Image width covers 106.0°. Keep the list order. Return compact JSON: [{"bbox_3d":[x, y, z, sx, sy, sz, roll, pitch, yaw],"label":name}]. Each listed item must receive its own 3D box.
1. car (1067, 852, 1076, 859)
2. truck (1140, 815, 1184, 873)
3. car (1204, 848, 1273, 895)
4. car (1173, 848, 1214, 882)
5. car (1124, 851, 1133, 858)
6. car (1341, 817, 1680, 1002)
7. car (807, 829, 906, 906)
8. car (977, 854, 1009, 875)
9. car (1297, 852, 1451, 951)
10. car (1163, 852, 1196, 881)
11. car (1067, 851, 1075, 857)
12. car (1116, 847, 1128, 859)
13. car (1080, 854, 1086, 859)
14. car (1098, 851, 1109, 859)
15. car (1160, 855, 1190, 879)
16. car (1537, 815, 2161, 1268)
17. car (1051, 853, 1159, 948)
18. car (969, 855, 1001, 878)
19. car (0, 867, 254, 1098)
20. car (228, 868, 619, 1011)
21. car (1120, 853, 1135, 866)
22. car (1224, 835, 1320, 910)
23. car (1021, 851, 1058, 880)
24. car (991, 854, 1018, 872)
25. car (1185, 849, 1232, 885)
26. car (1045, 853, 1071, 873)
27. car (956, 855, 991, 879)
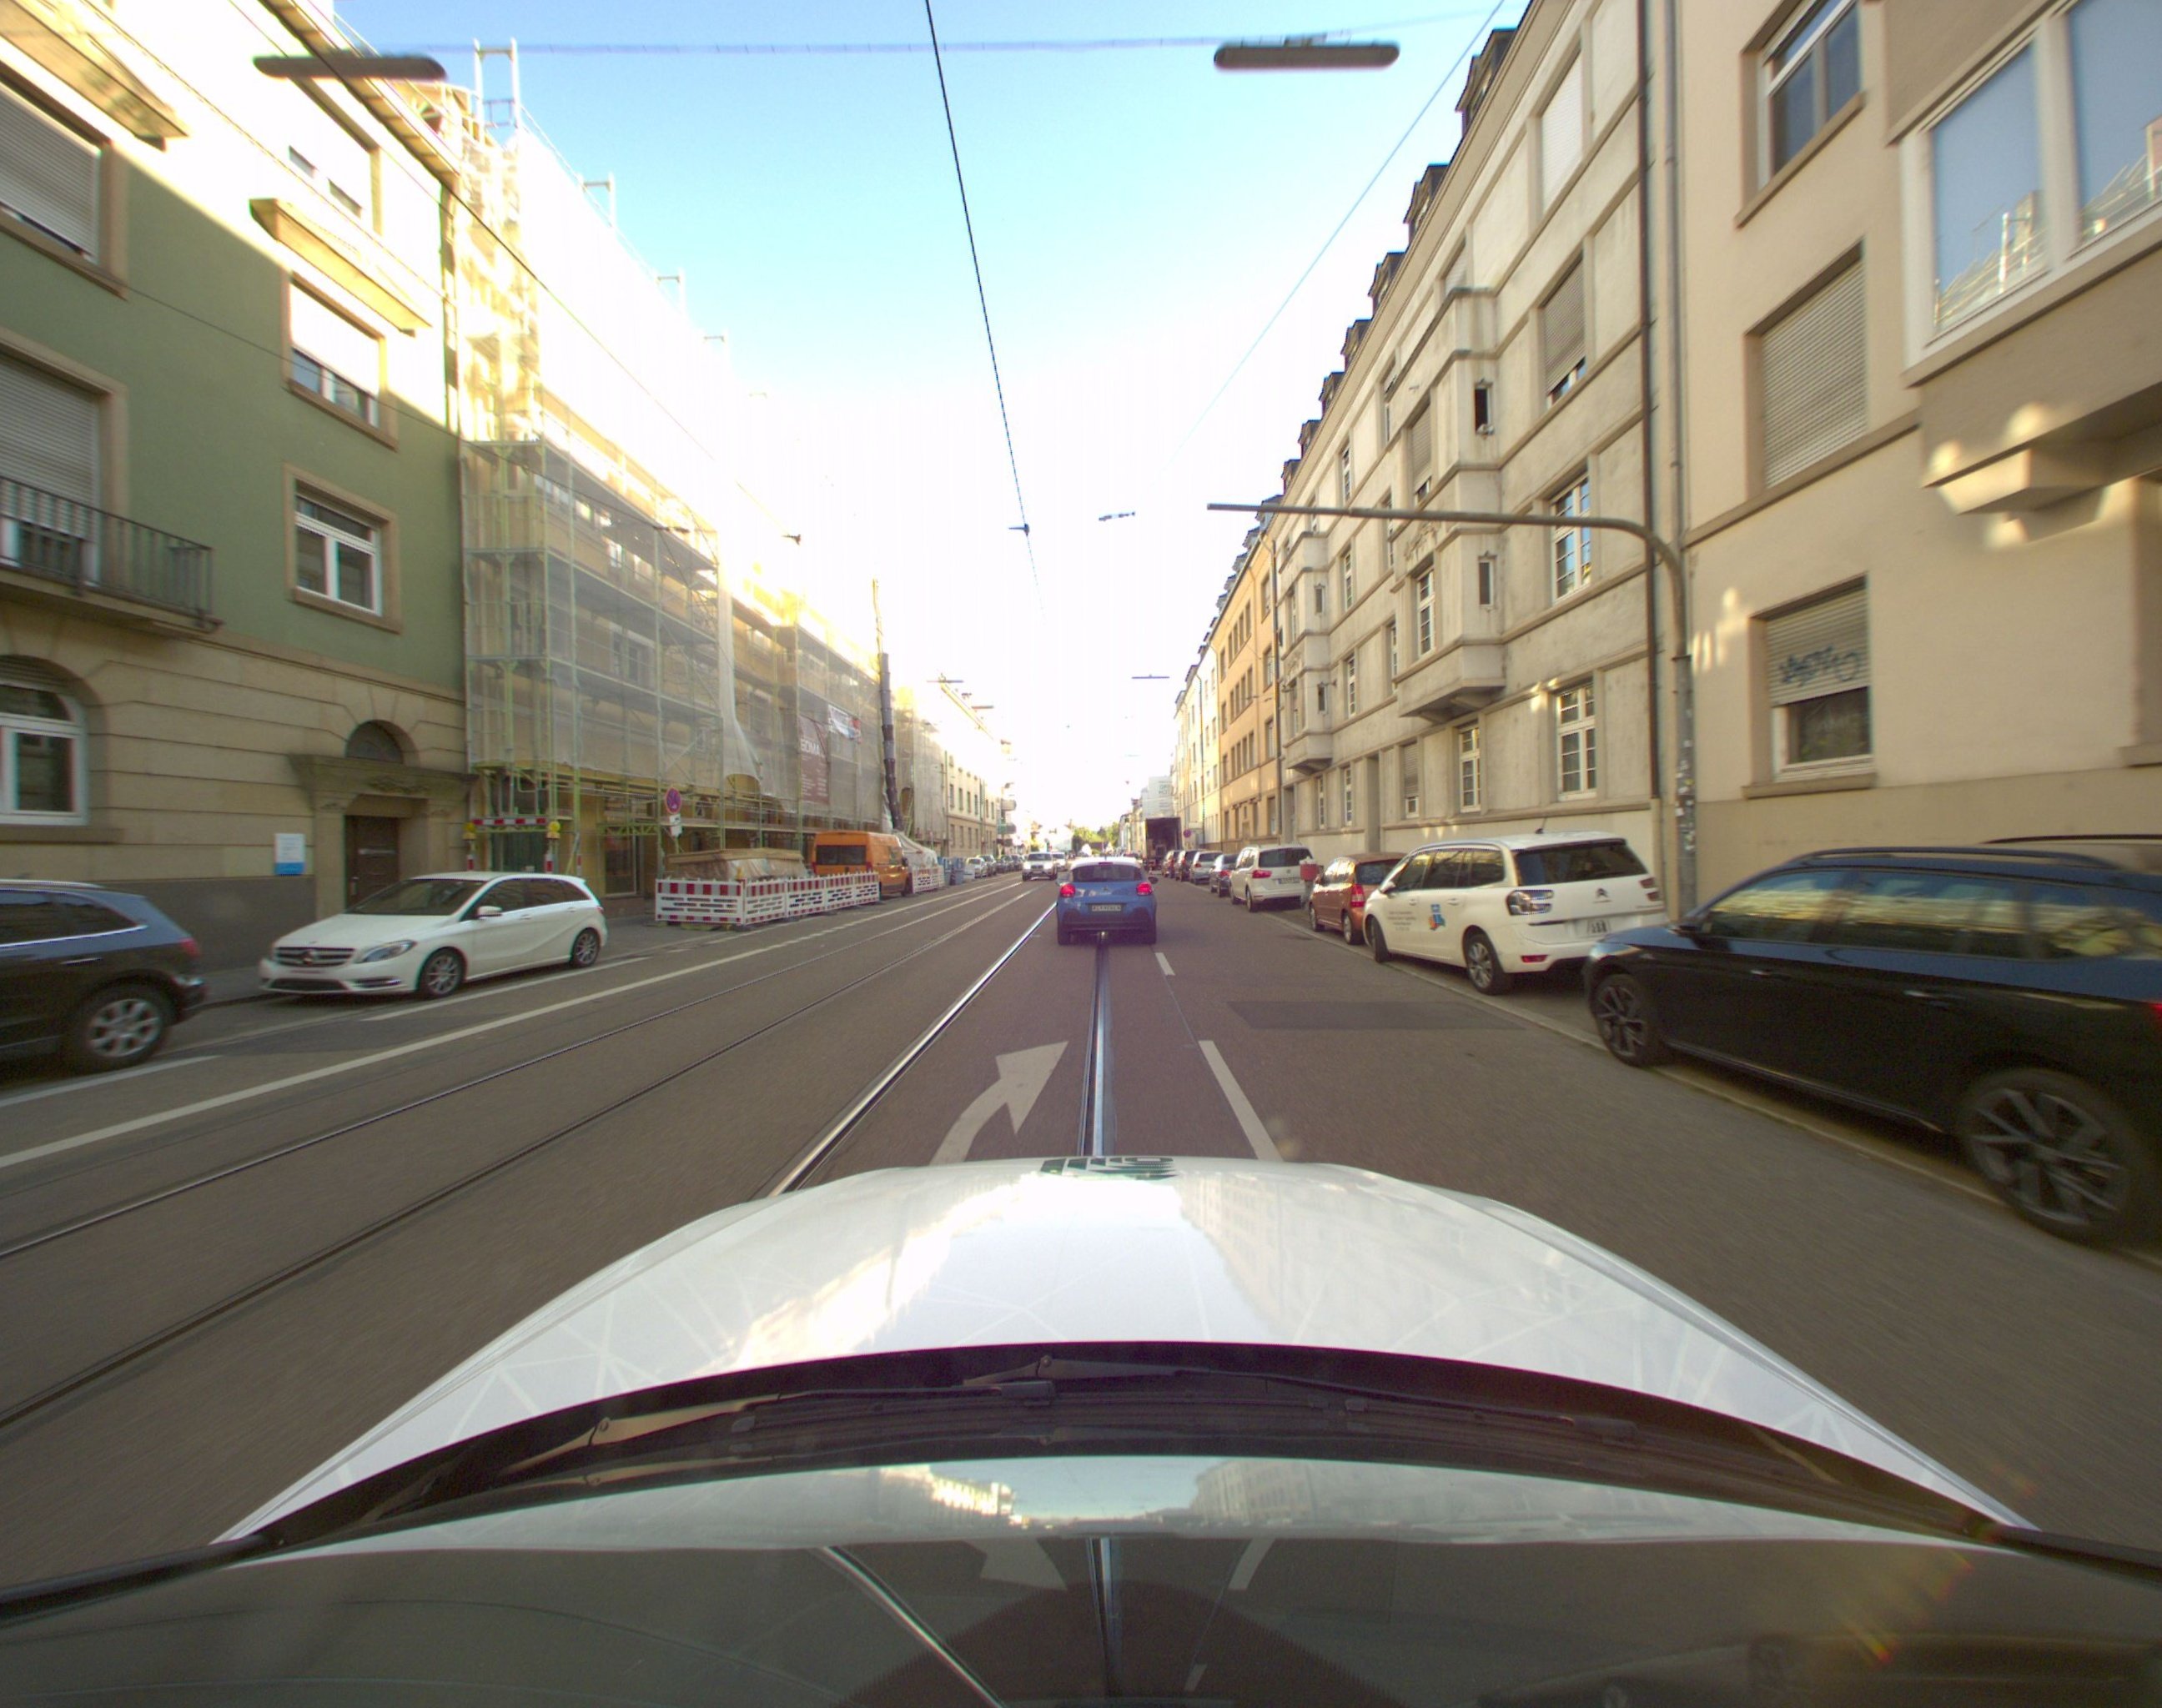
[{"bbox_3d":[-2.092,0.362,181.991,1.758,1.487,4.033,-1,0,2],"label":"car"},{"bbox_3d":[6.271,-0.721,64.383,2.841,4.083,11.279,-1,0,3],"label":"truck"},{"bbox_3d":[5.472,0.566,28.739,1.716,1.487,4.224,-1,0,2],"label":"car"},{"bbox_3d":[5.868,0.537,42.835,1.657,1.647,4.224,-1,0,2],"label":"car"},{"bbox_3d":[10.830,0.068,185.732,1.758,1.487,4.033,-1,0,2],"label":"car"},{"bbox_3d":[4.907,0.535,10.196,1.651,1.752,4.599,-1,0,-2],"label":"car"},{"bbox_3d":[-7.854,0.423,29.060,2.138,2.475,4.979,-1,0,0],"label":"car"},{"bbox_3d":[-7.496,0.859,69.577,2.137,1.621,4.001,-2,0,1],"label":"car"},{"bbox_3d":[5.164,0.763,14.846,1.608,1.560,3.602,-1,0,2],"label":"car"},{"bbox_3d":[5.872,0.742,48.858,1.657,1.633,3.873,-1,0,2],"label":"car"},{"bbox_3d":[-2.526,0.115,210.103,1.758,1.487,4.033,-1,0,2],"label":"car"},{"bbox_3d":[7.932,-0.129,156.564,2.211,2.284,4.086,-1,0,2],"label":"car"},{"bbox_3d":[0.743,0.874,255.111,1.758,1.487,4.033,-1,0,2],"label":"car"},{"bbox_3d":[4.365,0.127,156.794,2.172,1.486,4.162,-1,0,2],"label":"car"},{"bbox_3d":[6.110,0.844,53.334,1.657,1.487,4.033,-1,0,2],"label":"car"},{"bbox_3d":[4.623,0.632,4.708,1.648,1.566,4.340,-1,0,2],"label":"car"},{"bbox_3d":[0.460,0.753,15.188,1.728,1.507,3.994,1,0,2],"label":"car"},{"bbox_3d":[-7.159,0.887,61.074,1.707,1.594,4.269,-1,0,2],"label":"car"},{"bbox_3d":[-8.779,0.960,5.437,1.777,1.627,4.608,1,0,0],"label":"car"},{"bbox_3d":[-8.682,0.997,11.394,1.711,1.502,4.391,1,0,3],"label":"car"},{"bbox_3d":[5.539,0.618,97.757,1.758,1.487,4.033,-1,0,2],"label":"car"},{"bbox_3d":[5.183,0.459,22.680,1.724,1.827,4.689,-1,0,2],"label":"car"},{"bbox_3d":[-2.426,0.665,48.649,1.819,1.632,4.493,-1,0,2],"label":"car"},{"bbox_3d":[-7.014,0.813,75.344,1.819,1.632,4.851,-1,0,2],"label":"car"},{"bbox_3d":[5.877,0.573,37.987,1.657,1.519,4.224,-1,0,2],"label":"car"},{"bbox_3d":[-1.930,0.721,69.774,1.894,1.632,4.269,-1,0,2],"label":"car"},{"bbox_3d":[-7.425,0.883,56.693,1.707,1.518,4.049,-1,0,2],"label":"car"}]
